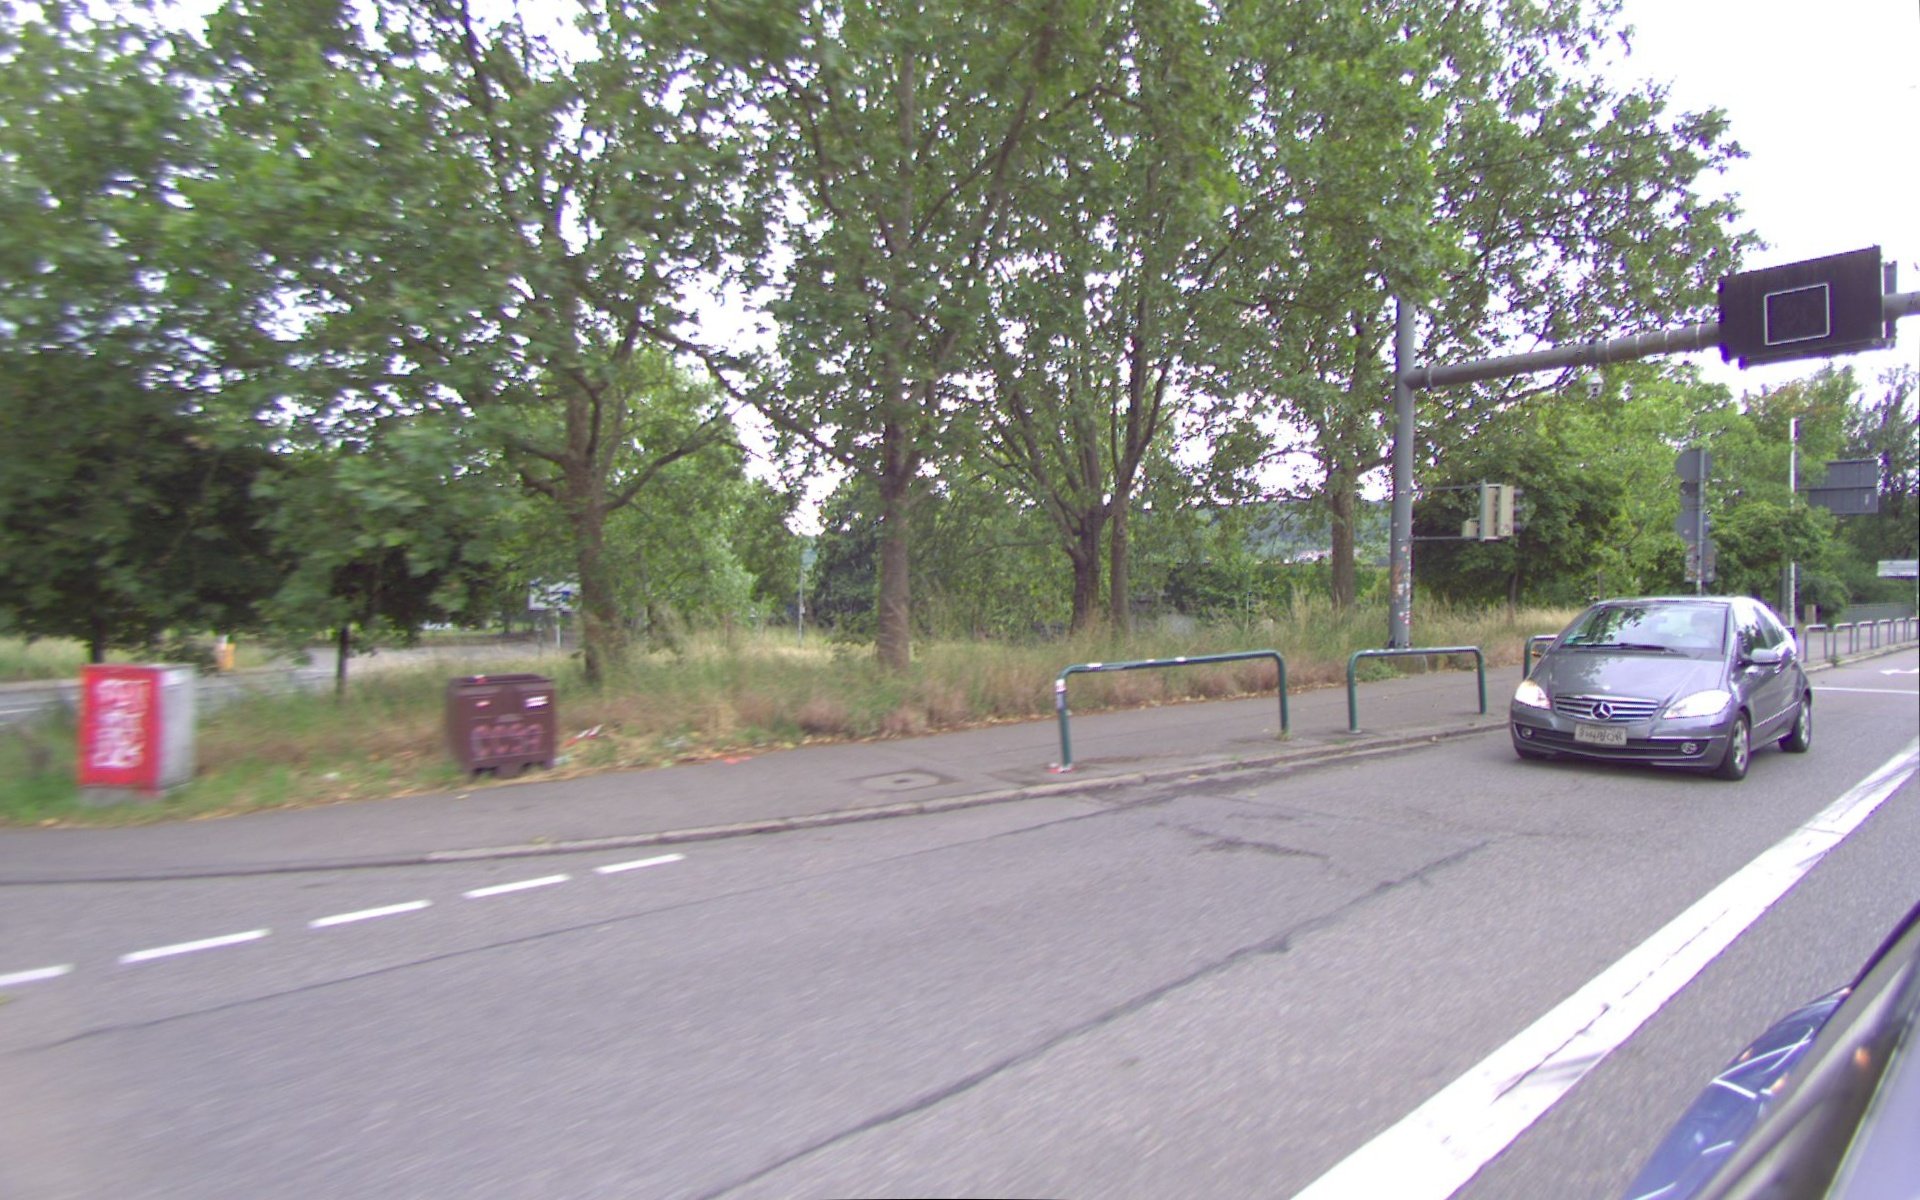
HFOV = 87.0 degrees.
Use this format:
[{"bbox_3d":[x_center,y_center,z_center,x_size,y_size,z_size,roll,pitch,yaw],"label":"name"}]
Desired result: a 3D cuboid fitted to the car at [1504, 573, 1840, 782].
[{"bbox_3d":[7.117,0.635,9.968,3.963,1.637,1.829,1,-1,-41],"label":"car"}]
